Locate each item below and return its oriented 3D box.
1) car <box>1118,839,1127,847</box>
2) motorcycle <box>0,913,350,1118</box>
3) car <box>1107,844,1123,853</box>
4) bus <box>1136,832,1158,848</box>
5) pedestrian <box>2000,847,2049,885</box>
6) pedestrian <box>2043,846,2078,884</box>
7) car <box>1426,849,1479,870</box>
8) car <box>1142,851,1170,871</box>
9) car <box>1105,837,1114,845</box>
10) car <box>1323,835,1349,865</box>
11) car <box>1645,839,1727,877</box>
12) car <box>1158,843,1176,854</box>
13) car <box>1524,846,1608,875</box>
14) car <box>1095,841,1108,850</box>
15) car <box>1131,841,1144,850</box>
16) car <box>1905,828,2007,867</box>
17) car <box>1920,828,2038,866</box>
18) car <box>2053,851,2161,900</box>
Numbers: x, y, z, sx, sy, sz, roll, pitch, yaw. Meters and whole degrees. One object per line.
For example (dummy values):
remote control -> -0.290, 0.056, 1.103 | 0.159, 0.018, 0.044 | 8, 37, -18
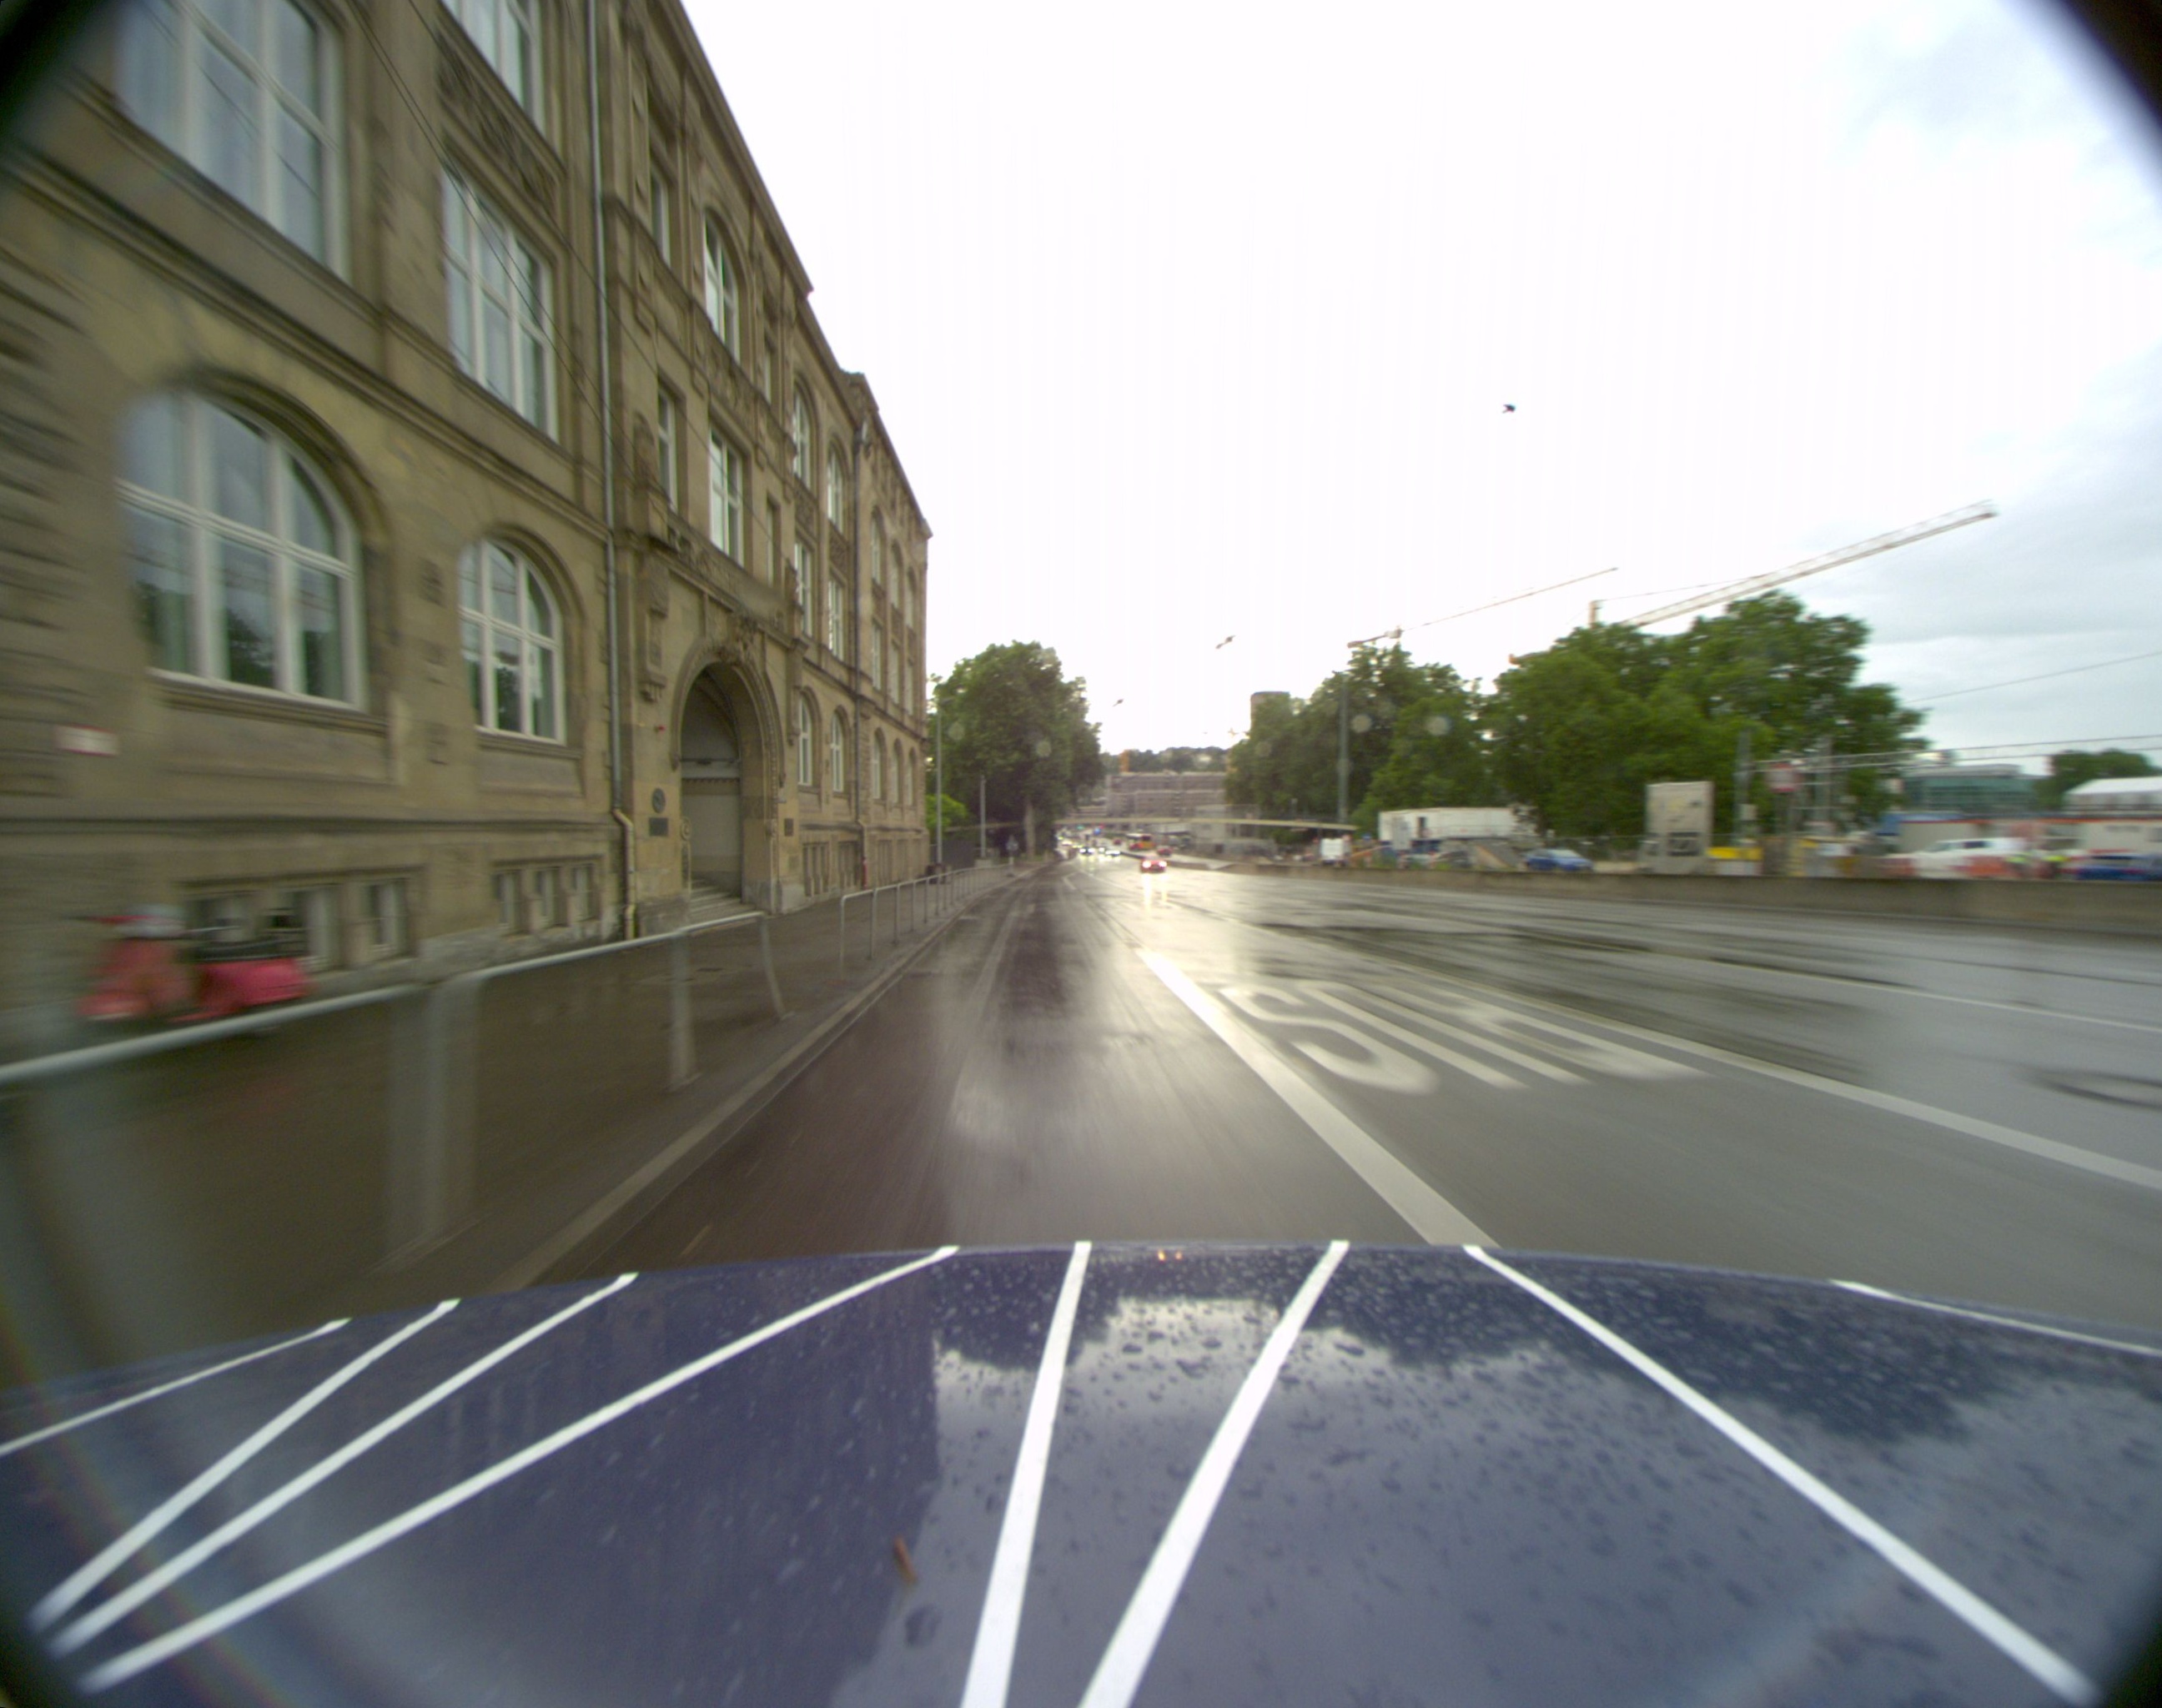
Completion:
car -> 10.059, -2.619, 182.758 | 1.998, 2.002, 4.000 | 0, 0, 1
motorcycle -> -6.668, 1.087, 5.717 | 0.548, 1.132, 1.898 | 0, 1, -3
car -> 5.532, -0.886, 123.969 | 1.988, 1.567, 4.438 | 0, 0, -4
bus -> 13.258, -2.841, 153.297 | 3.271, 2.923, 8.950 | -2, 1, -3
pedestrian -> 34.858, 0.435, 28.084 | 0.744, 1.344, 0.838 | -1, 0, 3
pedestrian -> 35.878, 0.397, 27.839 | 0.839, 1.344, 0.743 | -1, 1, -39
car -> 26.743, 0.387, 54.847 | 1.840, 1.481, 4.440 | 0, 0, 3
car -> 6.083, 0.568, 62.200 | 1.690, 1.543, 3.999 | -1, 0, -3
car -> 6.948, -3.142, 185.569 | 1.998, 2.002, 4.000 | 0, 0, 1
car -> 24.181, -0.365, 71.913 | 2.075, 2.722, 4.600 | 0, 1, 21
car -> 39.234, 0.228, 49.417 | 1.999, 2.370, 3.999 | 0, 0, -3
car -> 12.936, -0.803, 114.516 | 1.841, 1.567, 4.437 | 0, 0, -5
car -> 26.309, 0.317, 41.422 | 1.840, 1.481, 4.440 | 0, 0, 2
car -> 3.639, -1.488, 136.627 | 1.988, 1.567, 4.438 | 0, 0, -4
car -> 10.705, -1.633, 143.772 | 1.841, 1.567, 4.438 | 0, 0, -4
car -> 56.332, -0.397, 49.001 | 2.003, 2.370, 3.990 | -1, 1, -30
car -> 58.800, -0.454, 49.847 | 2.004, 2.370, 4.935 | -1, 1, -39
car -> 36.067, 0.695, 26.076 | 4.002, 1.499, 1.997 | -2, 1, -16
